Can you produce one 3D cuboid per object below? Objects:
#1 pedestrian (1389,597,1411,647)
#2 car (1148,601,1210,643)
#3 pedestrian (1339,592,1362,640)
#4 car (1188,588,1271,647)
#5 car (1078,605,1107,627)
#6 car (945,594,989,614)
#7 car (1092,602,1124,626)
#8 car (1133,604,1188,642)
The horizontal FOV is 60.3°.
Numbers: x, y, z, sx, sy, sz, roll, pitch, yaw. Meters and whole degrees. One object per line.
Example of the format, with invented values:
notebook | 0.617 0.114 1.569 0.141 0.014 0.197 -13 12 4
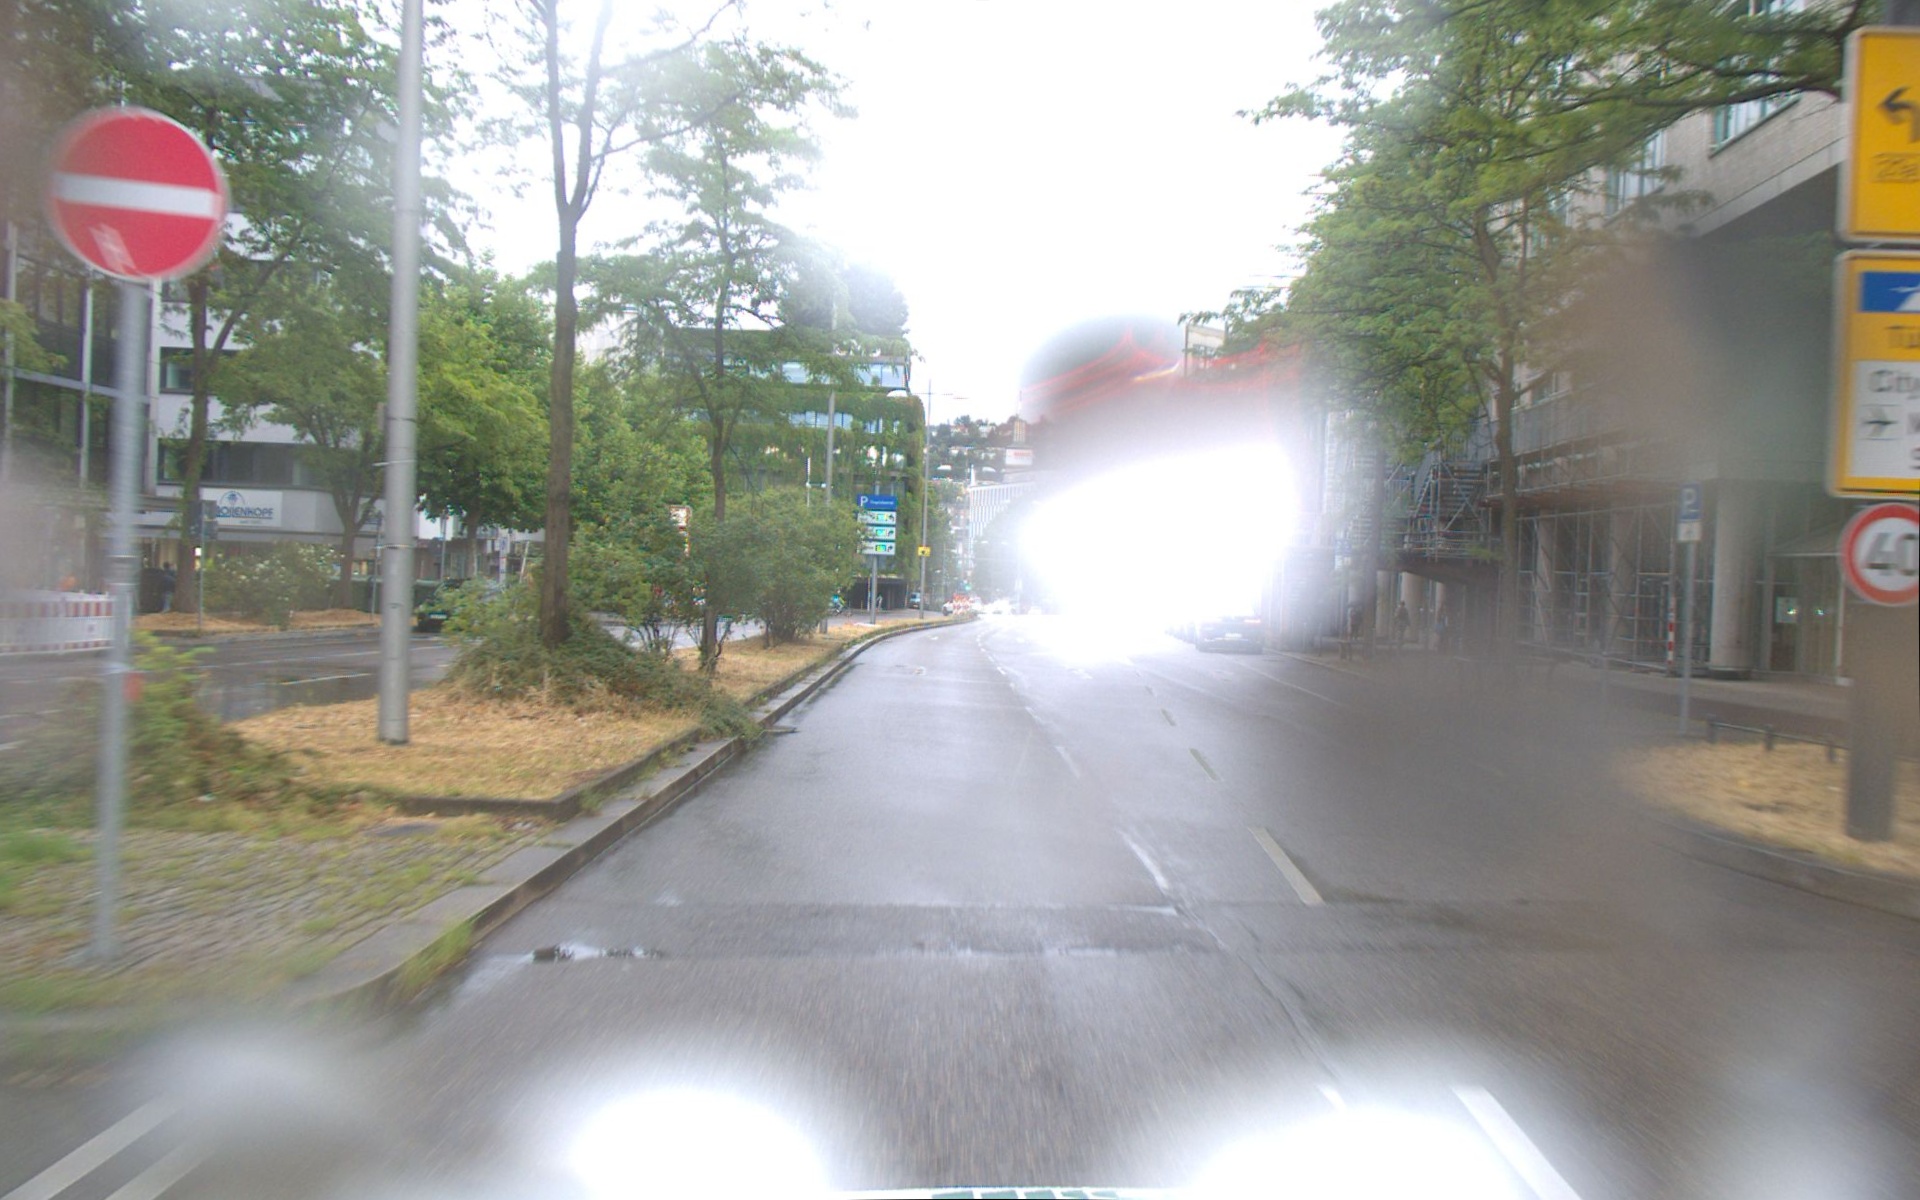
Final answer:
pedestrian | 17.422 0.867 65.461 0.759 1.954 0.703 1 -1 9
car | 8.317 0.802 63.035 1.807 1.518 4.000 1 0 0
pedestrian | 16.236 0.665 68.768 0.759 1.954 0.702 1 -1 -2
car | 8.307 0.532 51.240 2.288 1.721 4.003 1 0 6
car | 10.755 1.316 134.649 1.953 1.766 3.999 1 -1 -1
car | 0.595 0.372 150.890 1.815 1.668 4.244 3 -1 -37
car | 11.037 1.057 123.506 1.953 1.754 3.998 1 -1 -2
car | 8.408 0.938 69.732 1.807 1.518 4.000 1 0 0
